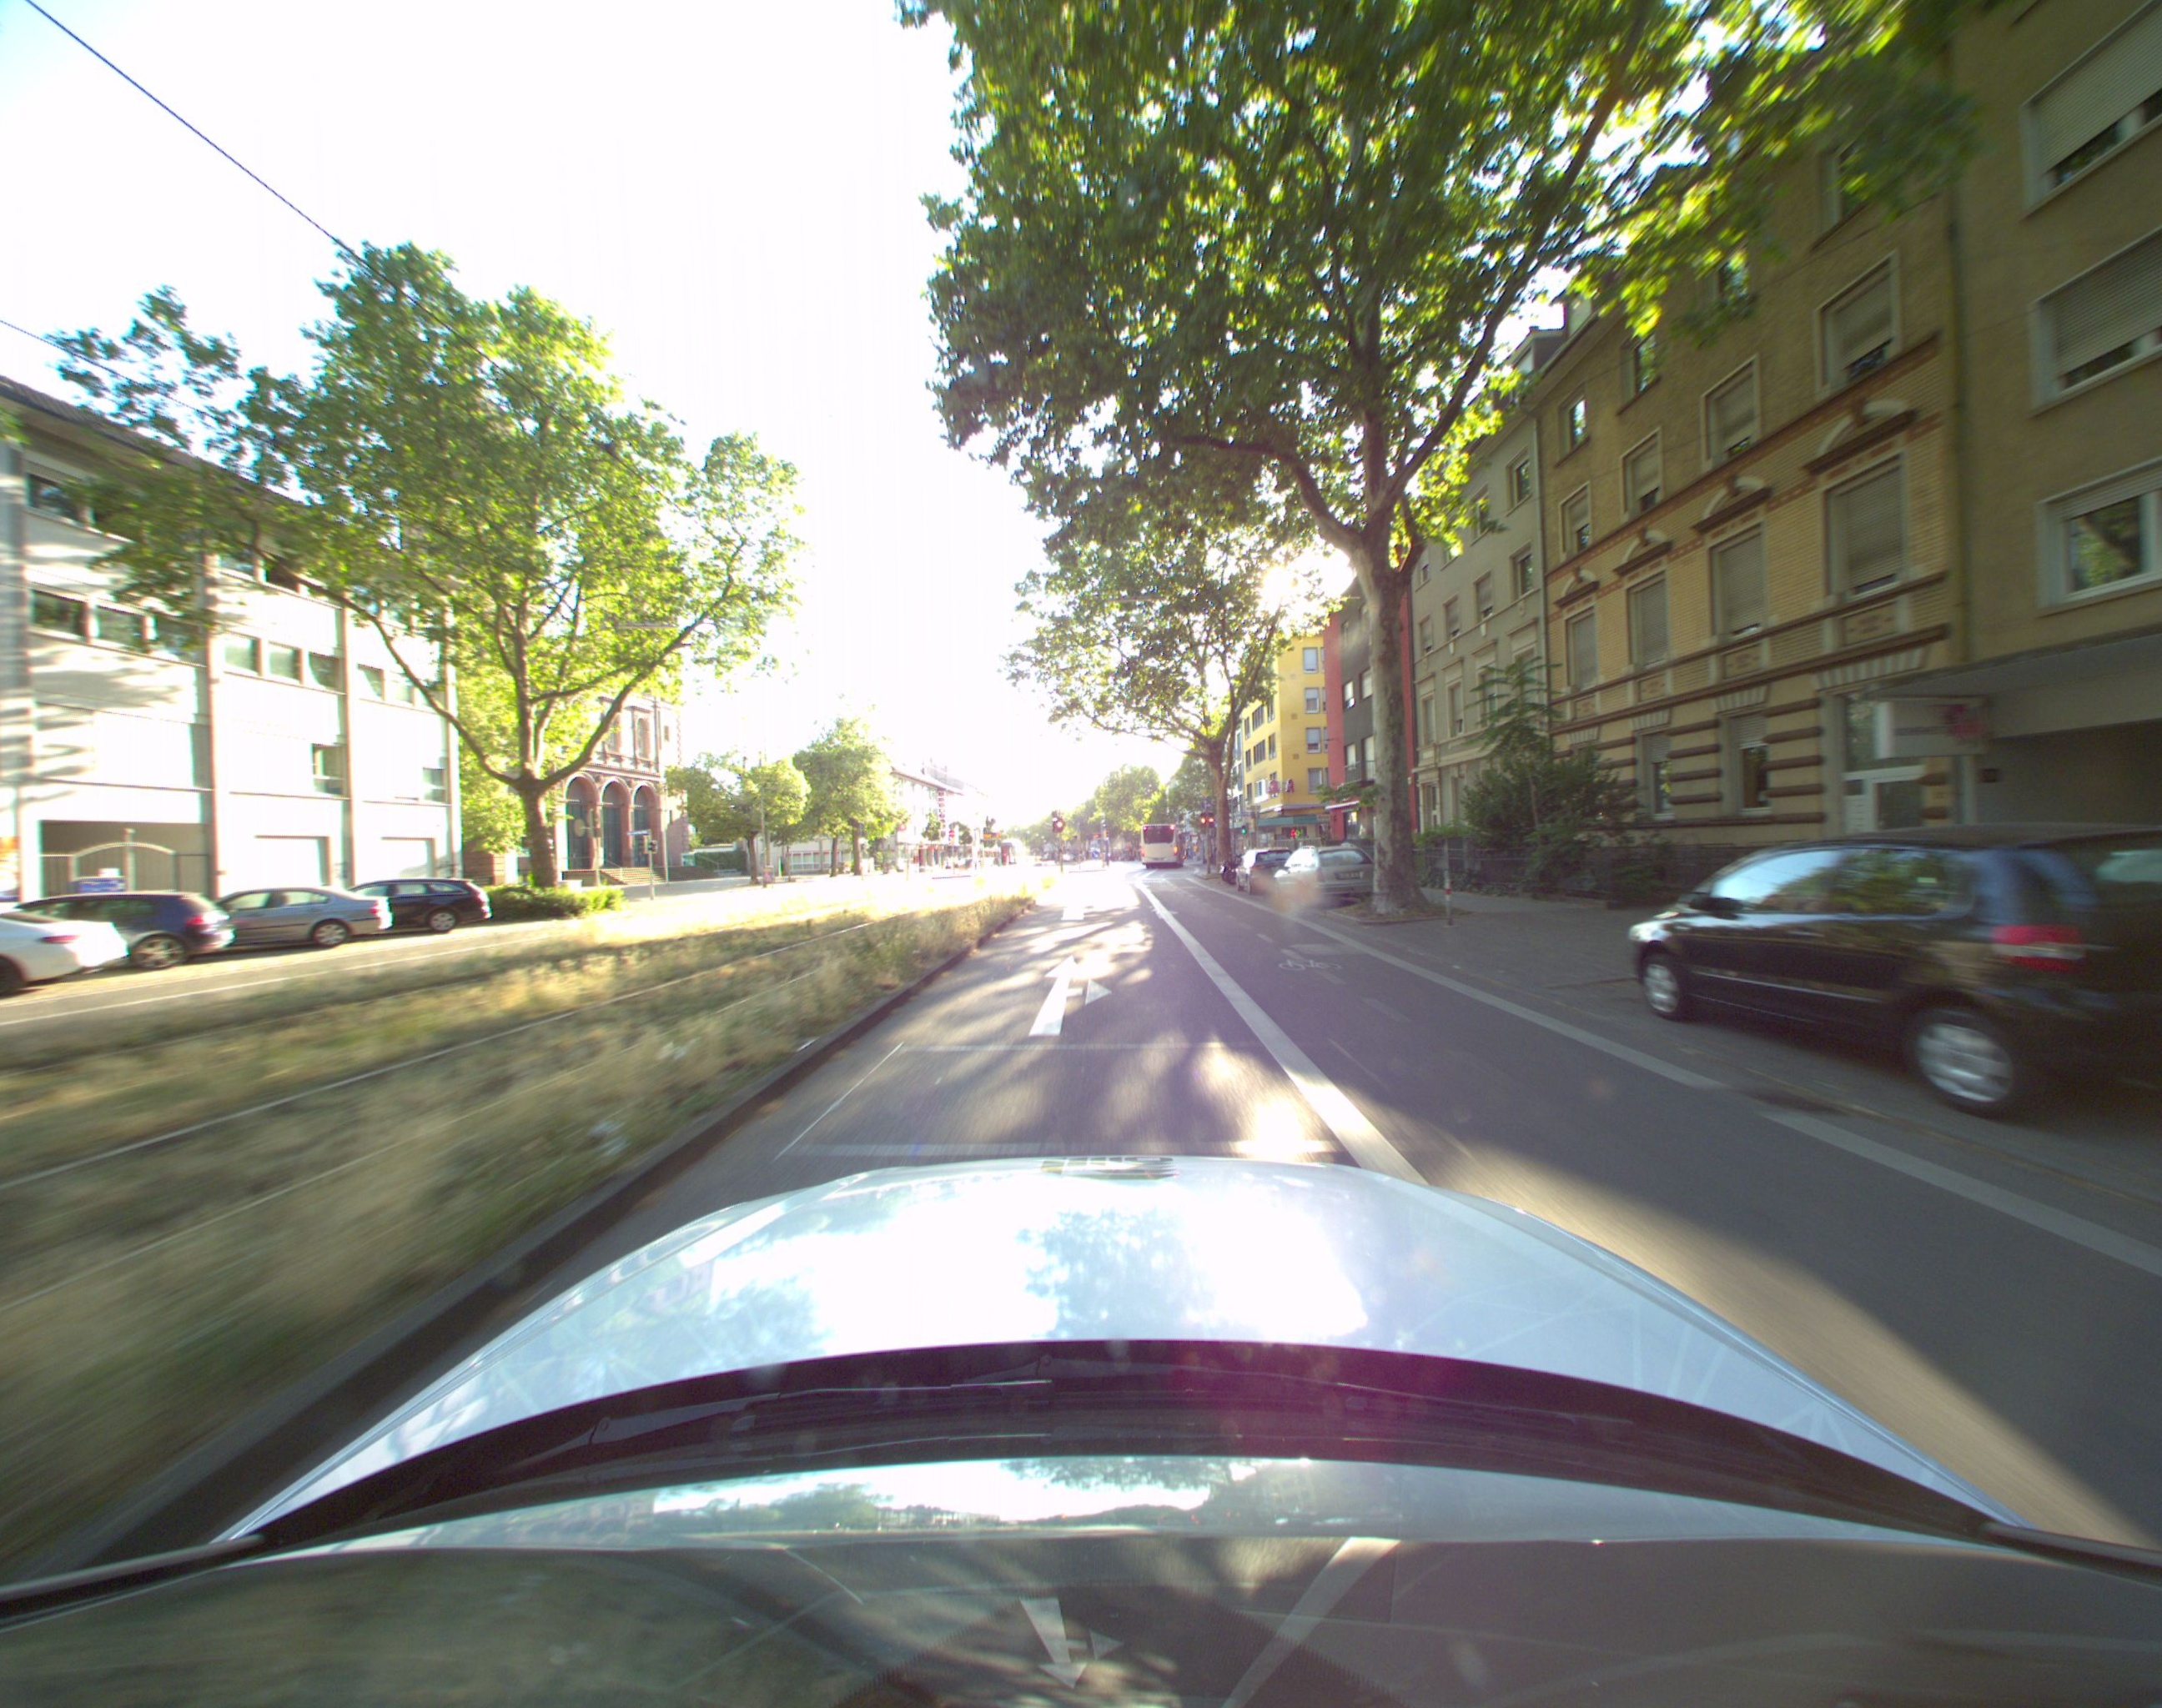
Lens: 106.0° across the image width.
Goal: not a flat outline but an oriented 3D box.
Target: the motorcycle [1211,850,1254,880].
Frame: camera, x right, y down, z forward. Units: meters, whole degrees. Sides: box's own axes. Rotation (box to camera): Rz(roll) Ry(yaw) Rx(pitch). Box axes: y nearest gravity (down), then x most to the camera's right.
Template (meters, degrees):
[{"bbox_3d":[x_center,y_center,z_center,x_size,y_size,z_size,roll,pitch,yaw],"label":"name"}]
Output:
[{"bbox_3d":[6.430,0.461,34.533,2.009,1.152,0.594,-3,0,-40],"label":"motorcycle"}]

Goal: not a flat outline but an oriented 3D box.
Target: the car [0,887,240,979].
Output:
[{"bbox_3d":[-18.672,1.428,15.180,4.021,1.441,1.781,0,0,-41],"label":"car"}]

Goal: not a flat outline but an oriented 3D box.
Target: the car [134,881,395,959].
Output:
[{"bbox_3d":[-18.267,1.417,18.535,4.020,1.441,1.702,0,0,-39],"label":"car"}]

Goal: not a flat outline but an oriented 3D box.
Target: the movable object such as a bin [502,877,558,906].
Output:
[{"bbox_3d":[-28.489,1.908,42.139,1.103,1.211,2.448,0,4,3],"label":"movable object such as a bin"}]

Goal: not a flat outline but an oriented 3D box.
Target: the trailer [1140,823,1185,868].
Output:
[{"bbox_3d":[6.219,-0.579,61.014,2.795,3.110,8.817,0,0,9],"label":"trailer"}]

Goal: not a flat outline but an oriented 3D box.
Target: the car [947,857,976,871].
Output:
[{"bbox_3d":[-18.144,1.519,123.499,4.006,1.816,1.984,-2,0,-24],"label":"car"}]

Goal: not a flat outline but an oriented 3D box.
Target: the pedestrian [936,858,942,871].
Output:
[{"bbox_3d":[-21.190,1.591,121.752,0.706,2.014,0.949,-1,0,1],"label":"pedestrian"}]

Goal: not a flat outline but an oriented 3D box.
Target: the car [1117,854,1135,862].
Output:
[{"bbox_3d":[10.657,0.946,194.609,3.910,1.699,1.817,-2,0,-26],"label":"car"}]

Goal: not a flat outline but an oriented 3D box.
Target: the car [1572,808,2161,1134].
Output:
[{"bbox_3d":[5.609,0.530,5.947,1.648,1.545,4.001,-3,0,1],"label":"car"}]

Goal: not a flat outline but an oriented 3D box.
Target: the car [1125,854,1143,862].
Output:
[{"bbox_3d":[12.464,0.855,191.490,3.910,1.699,1.817,-2,0,-26],"label":"car"}]

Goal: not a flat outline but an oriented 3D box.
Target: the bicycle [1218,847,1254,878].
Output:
[{"bbox_3d":[6.857,0.371,35.899,0.687,1.203,1.859,0,4,41],"label":"bicycle"}]

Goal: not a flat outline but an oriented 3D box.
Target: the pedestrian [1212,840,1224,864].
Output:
[{"bbox_3d":[10.107,-0.135,60.066,0.677,1.770,0.687,-2,0,3],"label":"pedestrian"}]

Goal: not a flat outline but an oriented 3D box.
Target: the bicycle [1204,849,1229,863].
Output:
[{"bbox_3d":[10.603,0.145,63.717,1.766,1.021,0.695,-4,0,2],"label":"bicycle"}]

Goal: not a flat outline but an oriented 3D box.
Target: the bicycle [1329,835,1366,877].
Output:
[{"bbox_3d":[9.384,0.055,28.768,0.604,1.426,2.398,0,0,3],"label":"bicycle"}]

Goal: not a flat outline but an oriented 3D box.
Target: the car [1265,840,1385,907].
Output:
[{"bbox_3d":[6.052,0.418,20.742,1.668,1.451,4.571,-2,0,0],"label":"car"}]

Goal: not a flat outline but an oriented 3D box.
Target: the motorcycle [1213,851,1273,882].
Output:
[{"bbox_3d":[6.433,0.491,32.354,2.213,1.063,0.762,-4,1,-20],"label":"motorcycle"}]

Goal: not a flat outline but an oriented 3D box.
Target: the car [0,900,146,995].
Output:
[{"bbox_3d":[-17.943,1.505,12.627,4.222,1.333,1.704,0,0,-34],"label":"car"}]

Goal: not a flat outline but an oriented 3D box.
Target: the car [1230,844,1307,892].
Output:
[{"bbox_3d":[6.117,0.397,27.012,1.703,1.396,4.325,-2,0,3],"label":"car"}]

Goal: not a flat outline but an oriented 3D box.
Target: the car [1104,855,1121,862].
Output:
[{"bbox_3d":[7.719,1.167,199.167,3.911,1.596,1.677,-2,0,-26],"label":"car"}]

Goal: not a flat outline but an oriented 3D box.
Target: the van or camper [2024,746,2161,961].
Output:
[{"bbox_3d":[10.556,-0.036,5.593,1.935,1.922,5.393,-3,0,1],"label":"van or camper"}]

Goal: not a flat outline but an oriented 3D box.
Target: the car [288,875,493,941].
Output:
[{"bbox_3d":[-18.205,1.363,21.653,4.021,1.479,1.796,0,0,-41],"label":"car"}]

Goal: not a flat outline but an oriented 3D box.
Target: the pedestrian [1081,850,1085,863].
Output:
[{"bbox_3d":[0.162,0.182,56.291,0.290,0.875,0.344,0,0,-1],"label":"pedestrian"}]
